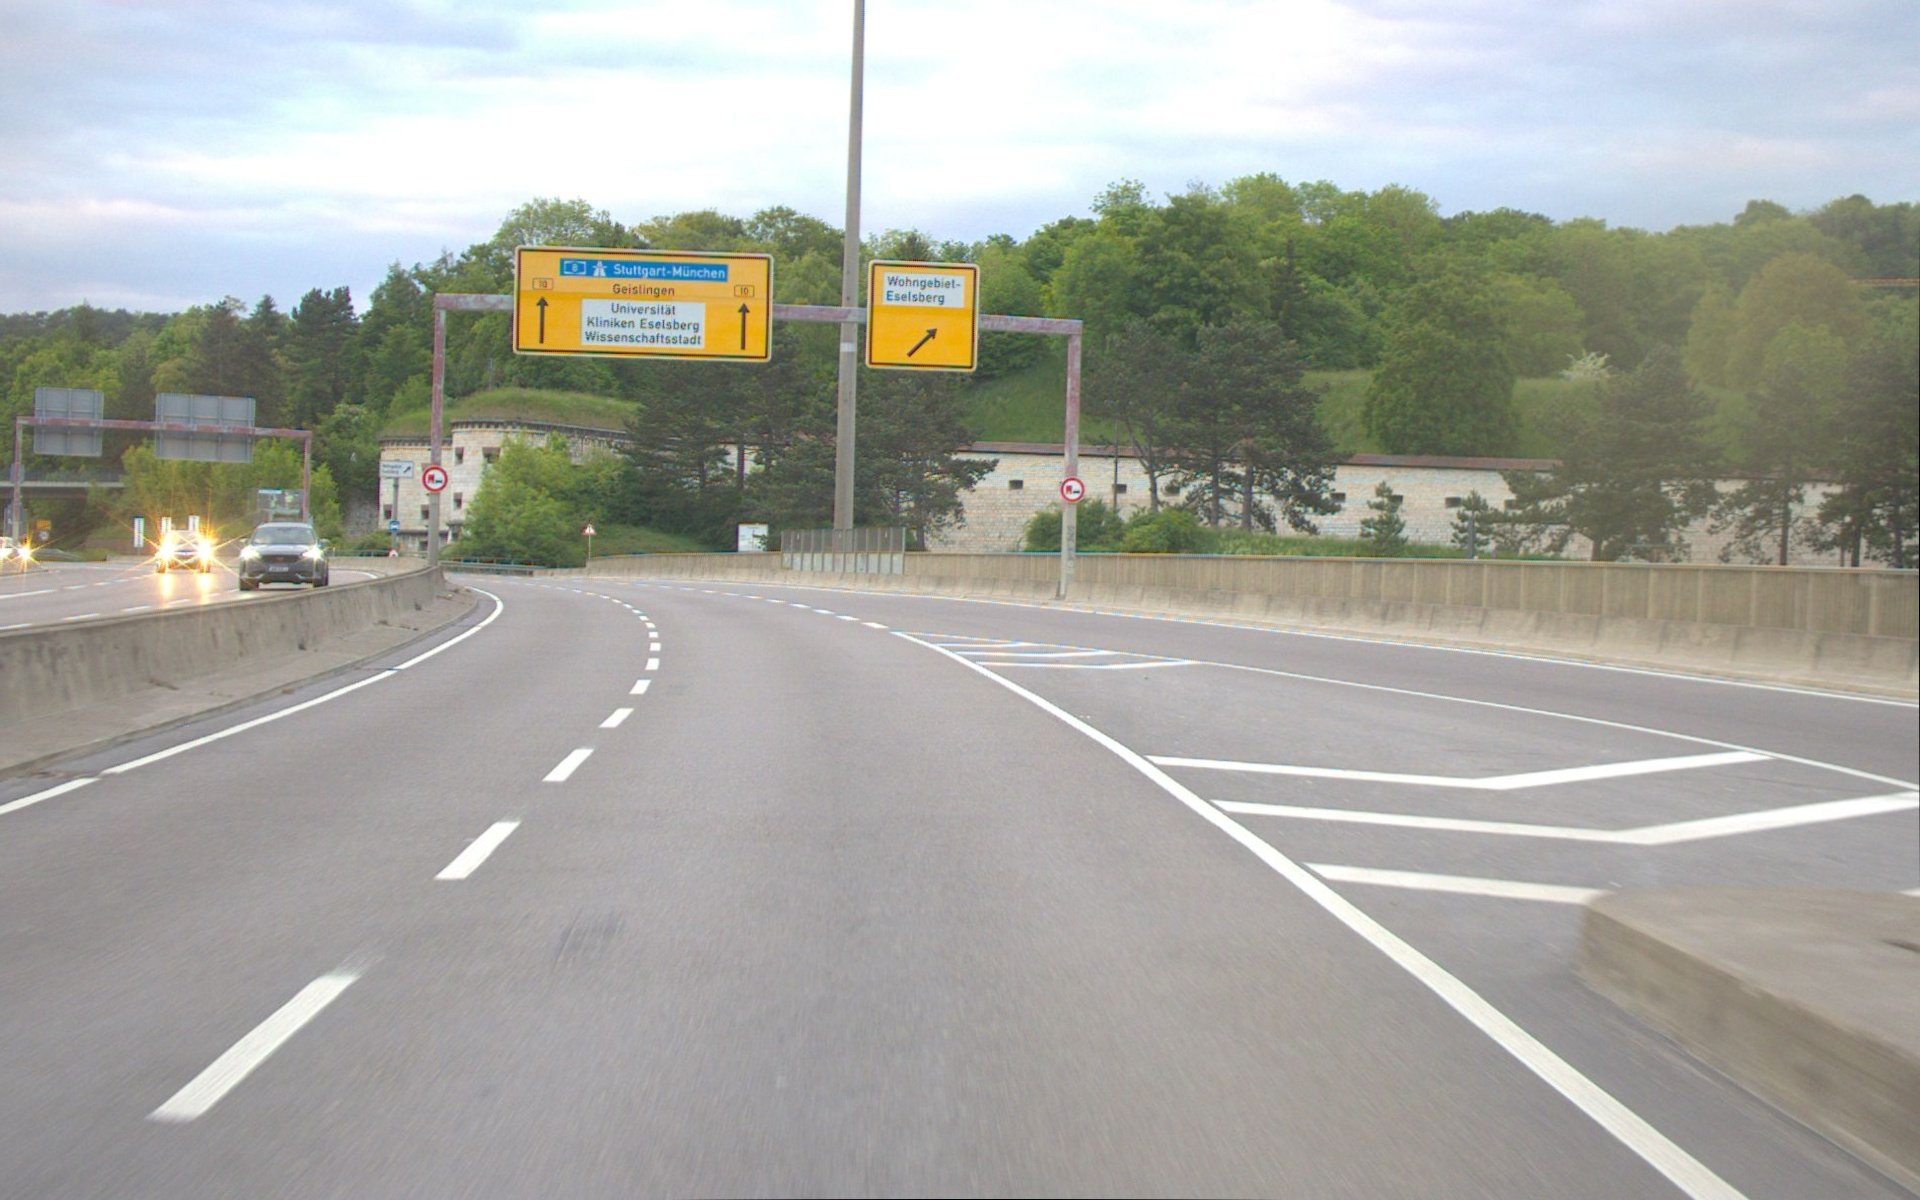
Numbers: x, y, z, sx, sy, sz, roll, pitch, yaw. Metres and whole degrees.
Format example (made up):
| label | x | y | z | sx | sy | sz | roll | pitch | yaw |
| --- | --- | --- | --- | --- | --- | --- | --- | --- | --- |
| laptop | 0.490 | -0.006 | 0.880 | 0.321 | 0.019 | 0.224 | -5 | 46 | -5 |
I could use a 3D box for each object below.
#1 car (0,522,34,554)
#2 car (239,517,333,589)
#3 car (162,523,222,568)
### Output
| label | x | y | z | sx | sy | sz | roll | pitch | yaw |
| --- | --- | --- | --- | --- | --- | --- | --- | --- | --- |
| car | -53.135 | -3.464 | 192.482 | 1.667 | 1.727 | 4.001 | 1 | 0 | -28 |
| car | -15.007 | -1.058 | 76.680 | 1.811 | 1.529 | 4.547 | 1 | 1 | -8 |
| car | -26.233 | -1.879 | 117.342 | 1.730 | 1.471 | 4.225 | 1 | 1 | -16 |
